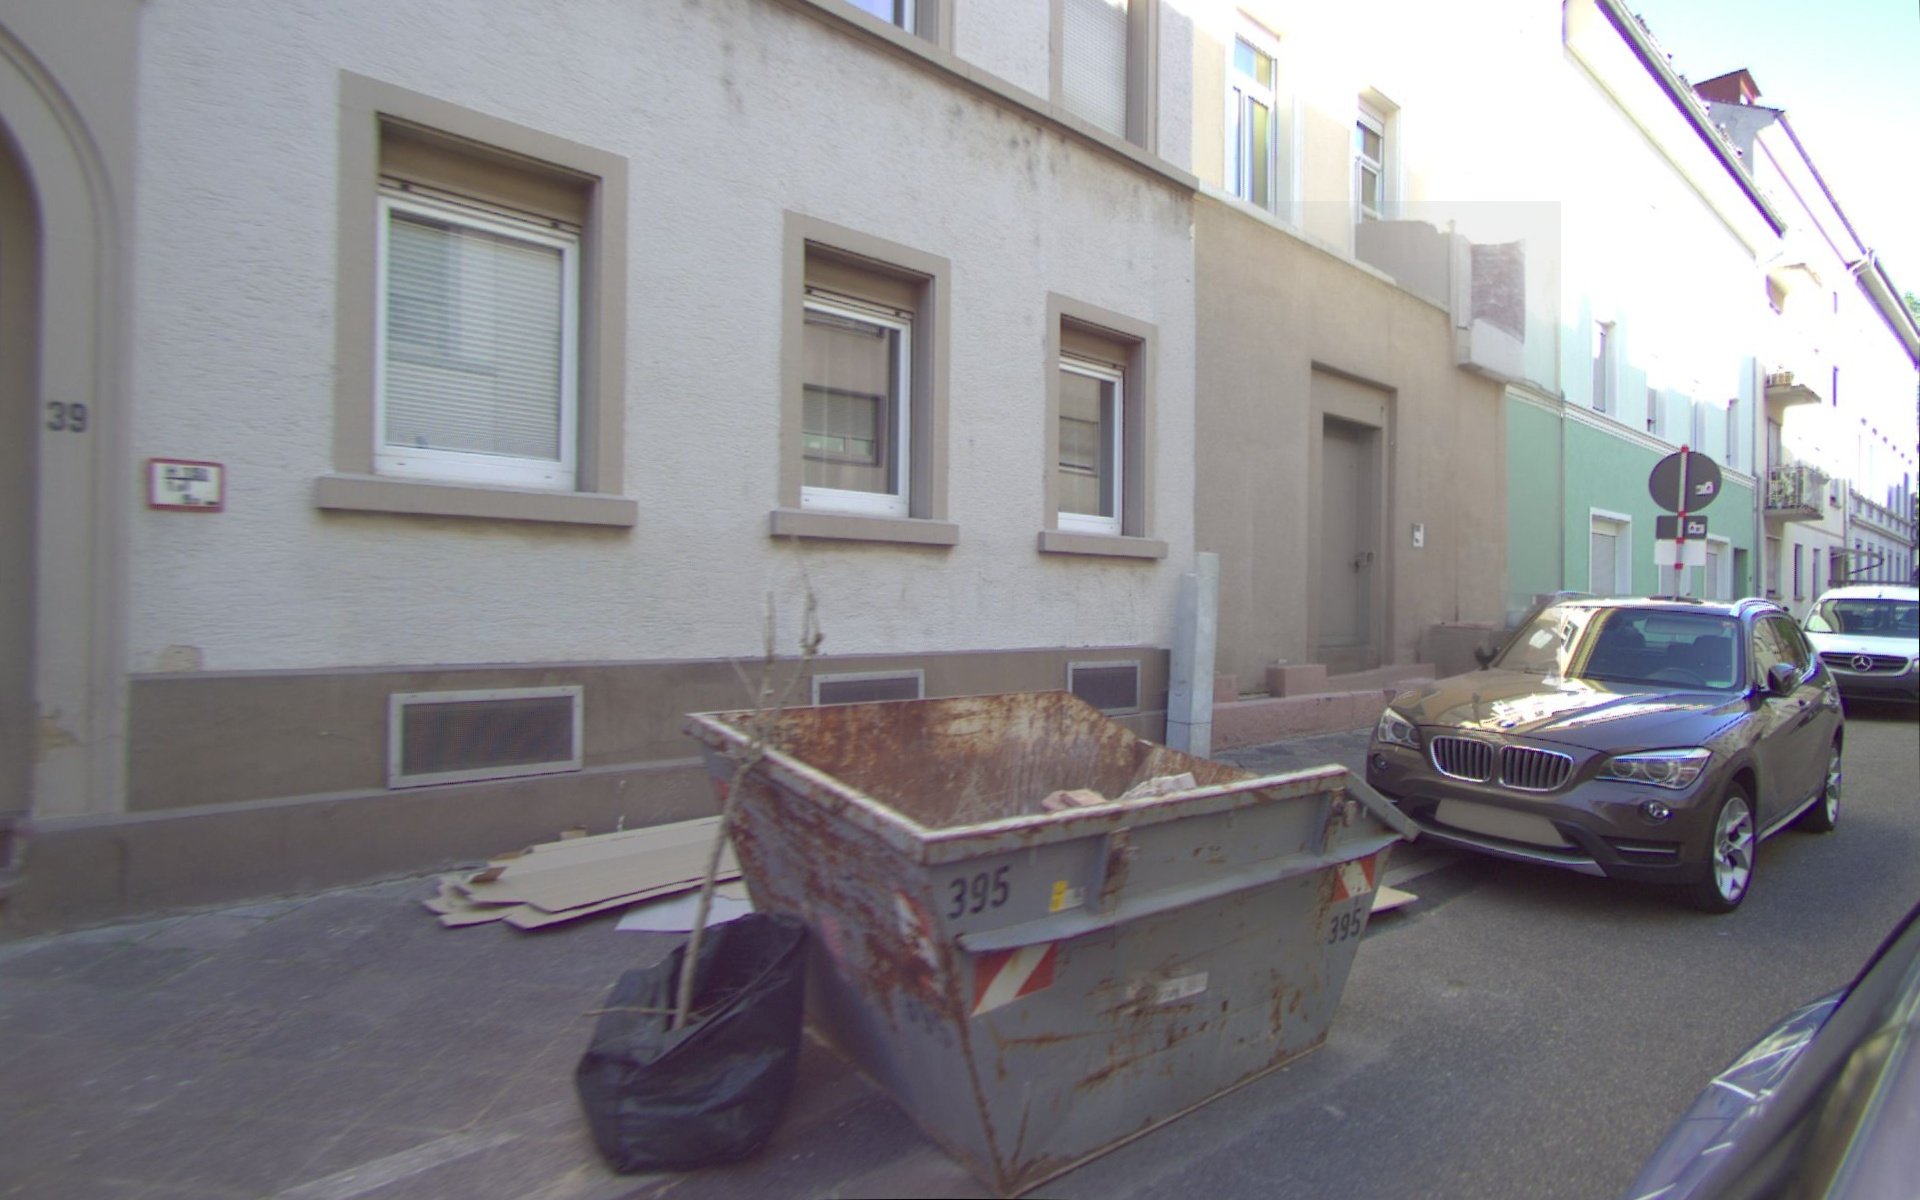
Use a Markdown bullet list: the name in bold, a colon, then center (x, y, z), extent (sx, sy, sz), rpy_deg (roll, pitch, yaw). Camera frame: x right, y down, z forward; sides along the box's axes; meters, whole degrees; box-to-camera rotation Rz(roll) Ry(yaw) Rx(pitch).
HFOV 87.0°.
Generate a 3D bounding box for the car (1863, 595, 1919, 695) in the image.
- **car**: center (17.269, 0.744, 17.922), extent (3.620, 1.653, 1.581), rpy_deg (0, -2, -44)

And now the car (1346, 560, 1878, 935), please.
- **car**: center (4.333, 0.650, 6.409), extent (4.301, 1.597, 1.742), rpy_deg (1, -1, -41)

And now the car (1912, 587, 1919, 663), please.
- **car**: center (25.194, 0.635, 25.005), extent (4.852, 1.806, 2.008), rpy_deg (1, -1, -41)

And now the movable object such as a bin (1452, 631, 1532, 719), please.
- **movable object such as a bin**: center (6.194, 0.853, 11.788), extent (0.632, 0.947, 0.654), rpy_deg (0, 0, -43)

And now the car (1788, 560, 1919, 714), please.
- **car**: center (13.667, 0.464, 14.817), extent (4.262, 1.986, 1.784), rpy_deg (0, 0, -42)

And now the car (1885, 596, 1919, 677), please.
- **car**: center (20.623, 0.738, 20.969), extent (3.962, 1.589, 1.745), rpy_deg (1, 0, -42)
